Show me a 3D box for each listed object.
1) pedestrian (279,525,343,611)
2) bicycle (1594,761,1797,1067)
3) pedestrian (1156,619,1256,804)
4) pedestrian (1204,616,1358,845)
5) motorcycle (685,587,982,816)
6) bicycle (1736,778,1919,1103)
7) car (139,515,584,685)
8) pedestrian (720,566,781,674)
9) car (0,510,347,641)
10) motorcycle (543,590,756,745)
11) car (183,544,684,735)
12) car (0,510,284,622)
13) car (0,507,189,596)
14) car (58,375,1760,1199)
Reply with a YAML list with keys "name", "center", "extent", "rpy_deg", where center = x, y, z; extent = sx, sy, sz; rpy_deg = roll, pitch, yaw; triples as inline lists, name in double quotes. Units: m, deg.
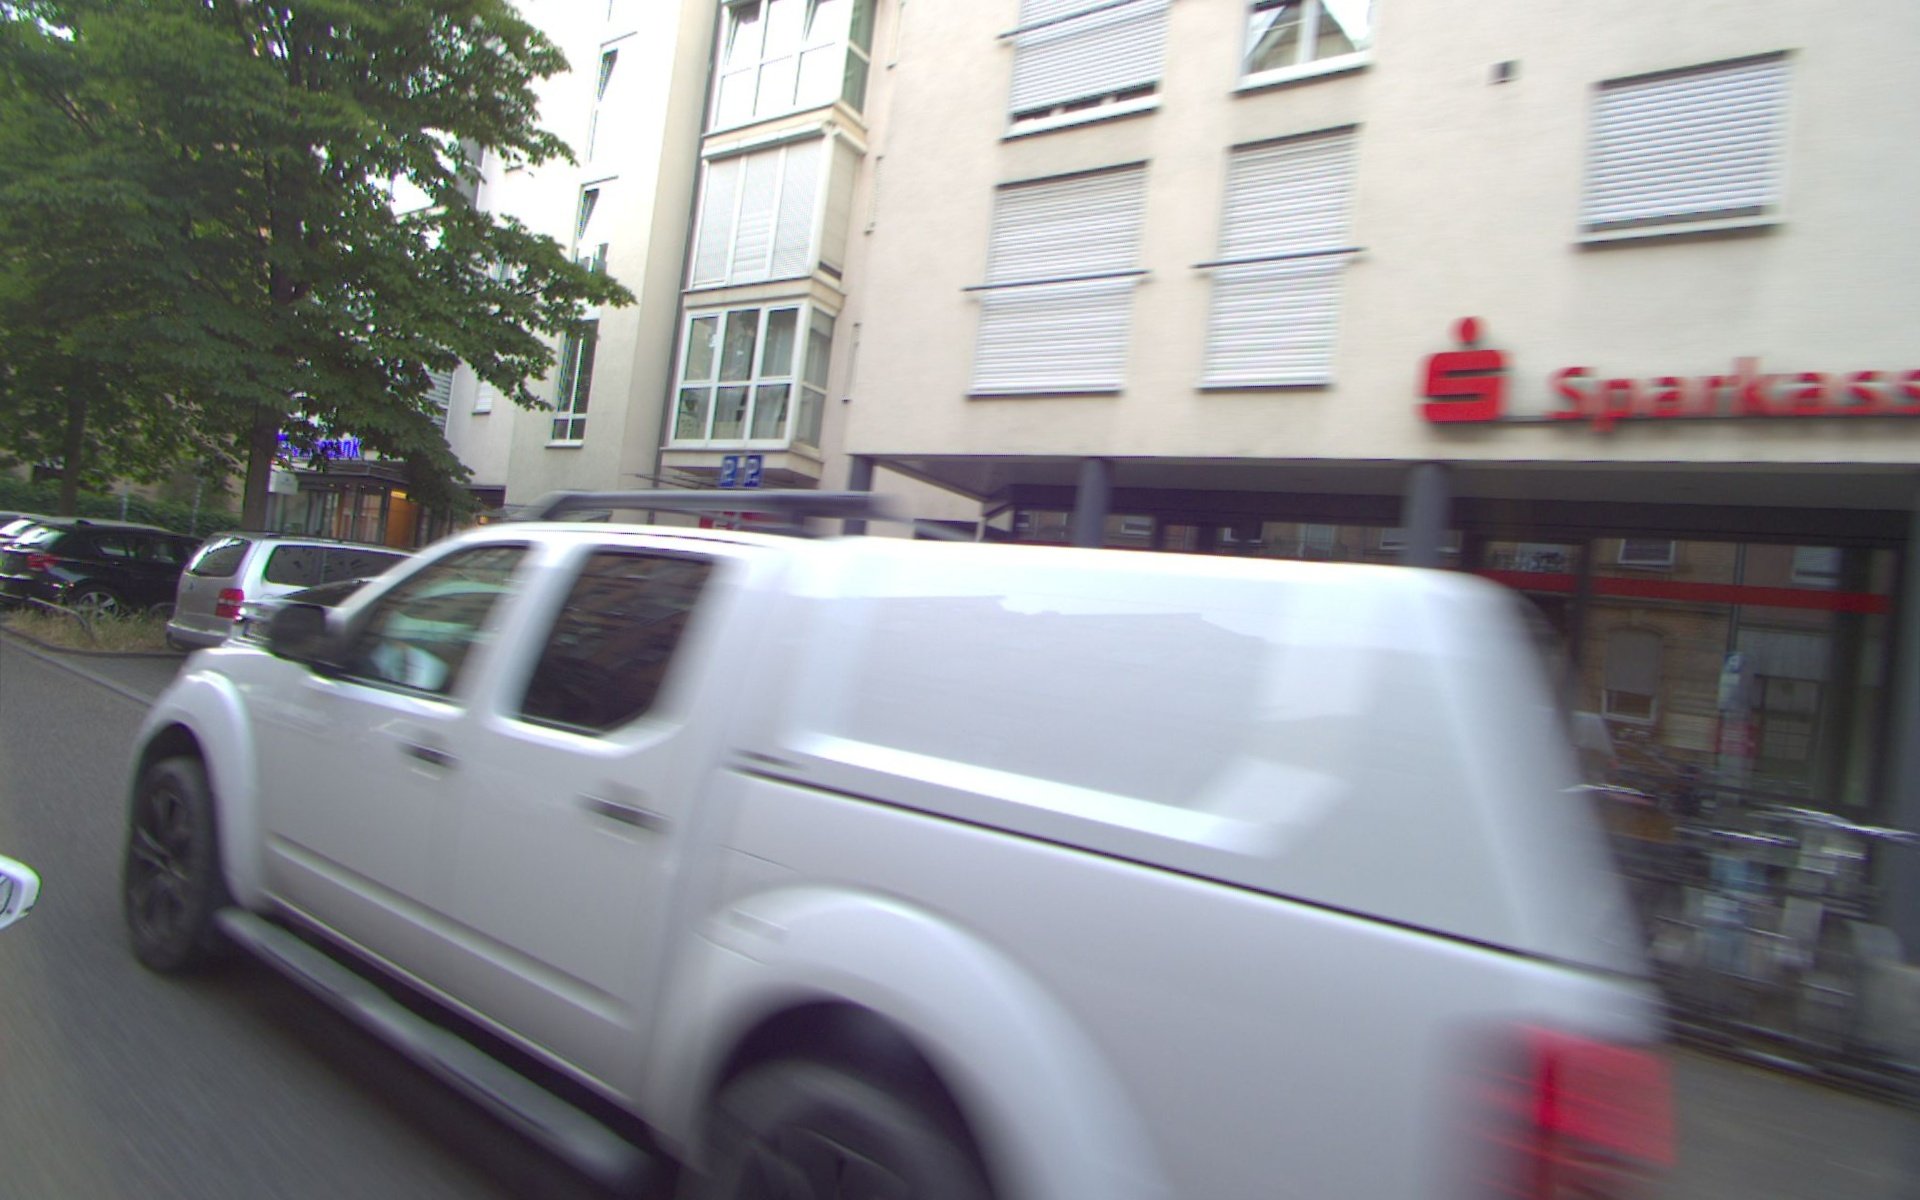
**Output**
- name: "pedestrian"
  center: [-14.060, -0.686, 21.797]
  extent: [0.948, 1.738, 0.727]
  rpy_deg: [6, 0, 35]
- name: "bicycle"
  center: [3.815, 1.496, 5.225]
  extent: [0.644, 1.132, 1.721]
  rpy_deg: [6, 0, 37]
- name: "pedestrian"
  center: [2.502, 1.111, 10.299]
  extent: [0.650, 1.744, 0.665]
  rpy_deg: [8, 1, 2]
- name: "pedestrian"
  center: [2.708, 1.072, 8.603]
  extent: [0.896, 1.745, 0.776]
  rpy_deg: [8, 2, 6]
- name: "motorcycle"
  center: [-0.939, 0.802, 8.322]
  extent: [0.811, 1.568, 2.490]
  rpy_deg: [6, 0, 37]
- name: "bicycle"
  center: [4.332, 1.563, 4.994]
  extent: [0.644, 1.132, 1.721]
  rpy_deg: [6, 0, 37]
- name: "car"
  center: [-7.219, 0.119, 12.635]
  extent: [1.718, 1.668, 4.401]
  rpy_deg: [7, 0, 34]
- name: "pedestrian"
  center: [-3.639, 0.352, 17.499]
  extent: [0.578, 1.772, 0.627]
  rpy_deg: [6, -2, 30]
- name: "car"
  center: [-11.750, -0.303, 14.989]
  extent: [1.798, 1.473, 3.992]
  rpy_deg: [7, -1, 32]
- name: "motorcycle"
  center: [-3.144, 0.684, 10.417]
  extent: [0.705, 1.387, 2.059]
  rpy_deg: [7, 1, 30]
- name: "car"
  center: [-5.243, 0.447, 10.738]
  extent: [1.749, 1.473, 4.431]
  rpy_deg: [7, 0, 28]
- name: "car"
  center: [-13.699, -0.525, 16.585]
  extent: [1.706, 1.471, 3.798]
  rpy_deg: [7, 0, 29]
- name: "car"
  center: [-18.395, -1.034, 20.308]
  extent: [1.853, 1.471, 4.085]
  rpy_deg: [7, 0, 36]
- name: "car"
  center: [-0.837, 0.576, 3.354]
  extent: [5.187, 1.874, 1.913]
  rpy_deg: [6, -2, 34]
